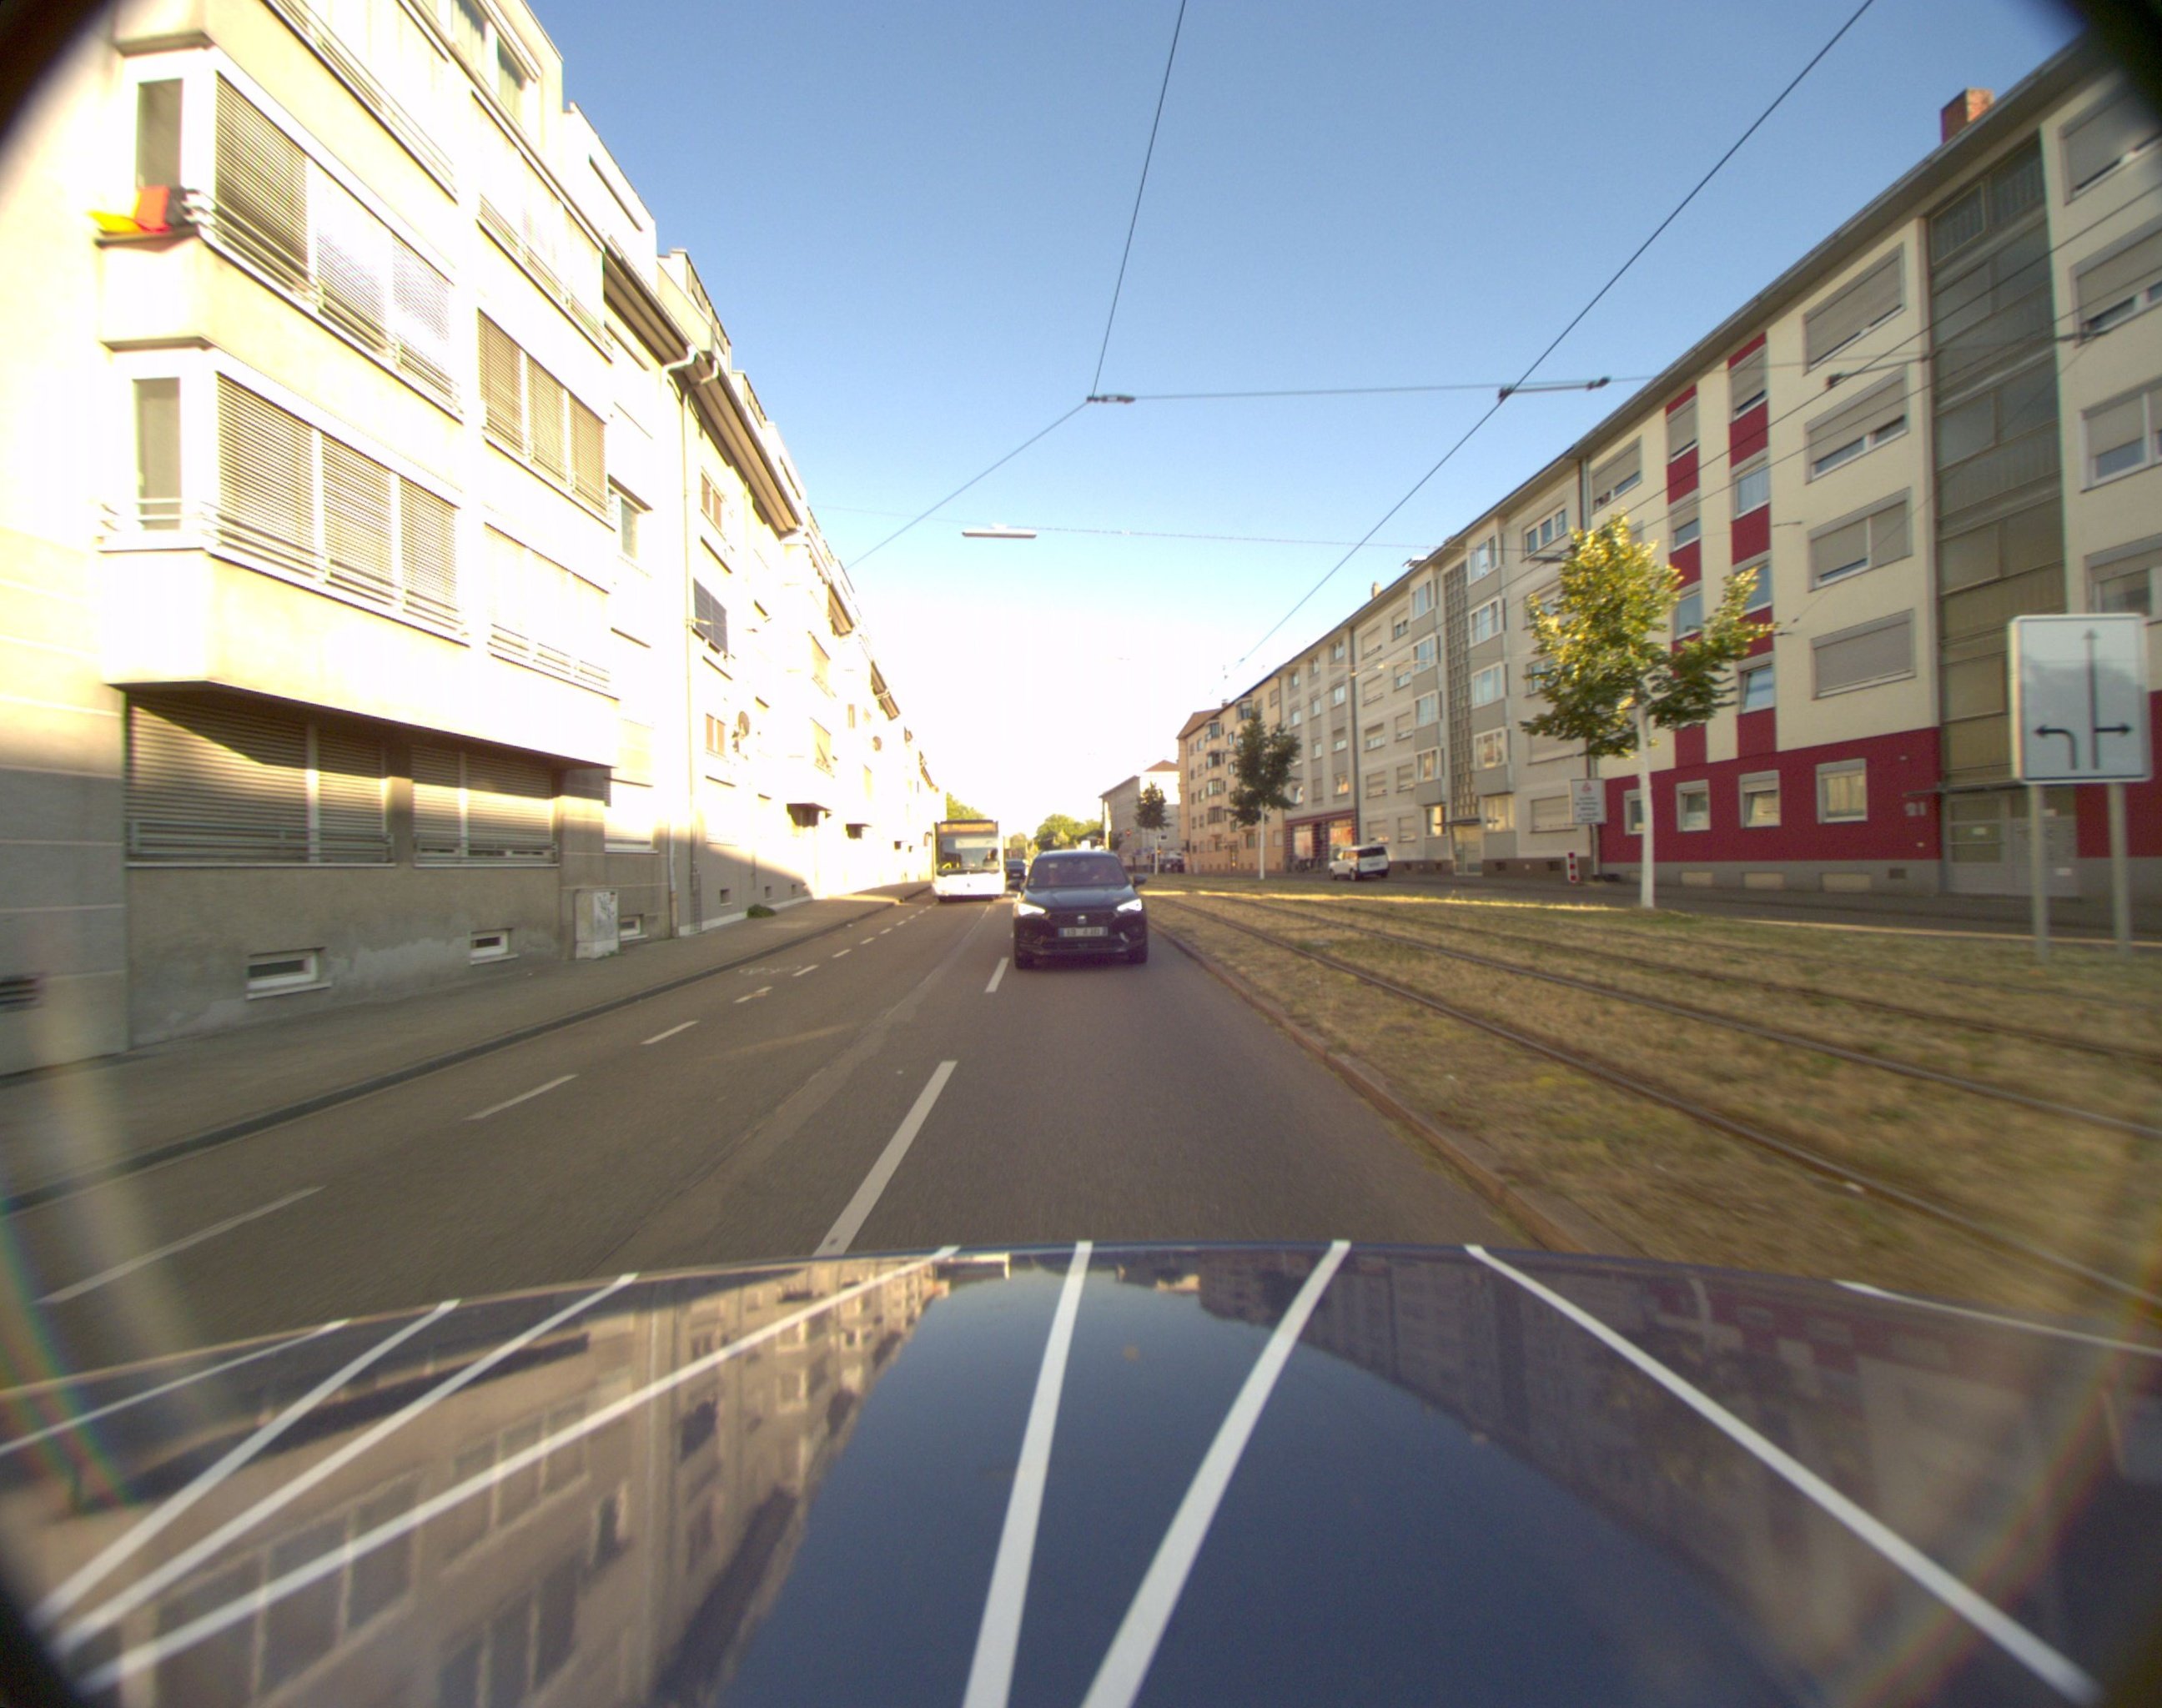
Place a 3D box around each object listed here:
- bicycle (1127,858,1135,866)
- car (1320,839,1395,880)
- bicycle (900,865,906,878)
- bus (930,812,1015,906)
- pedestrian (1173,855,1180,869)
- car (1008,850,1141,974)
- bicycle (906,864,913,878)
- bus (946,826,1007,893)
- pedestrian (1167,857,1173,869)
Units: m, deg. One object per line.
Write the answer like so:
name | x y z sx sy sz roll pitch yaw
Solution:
bicycle | 8.127 1.307 123.486 0.580 1.370 3.234 -1 0 -8
car | 14.776 0.281 40.843 1.872 1.818 4.420 -9 0 -5
bicycle | -13.152 1.298 56.242 0.279 0.965 1.729 1 -1 -8
bus | -4.357 0.215 31.222 2.733 3.059 10.594 -3 0 -7
pedestrian | 12.171 1.050 96.957 0.634 1.760 0.826 -1 0 22
car | -0.143 0.811 12.849 1.788 1.615 4.215 -3 1 -2
bicycle | -12.720 1.278 56.399 0.361 1.026 1.729 1 -1 -8
bus | -5.670 0.318 41.743 2.714 3.059 10.594 -3 0 -7
pedestrian | 11.432 1.168 97.596 0.624 1.481 0.582 -2 1 -8
